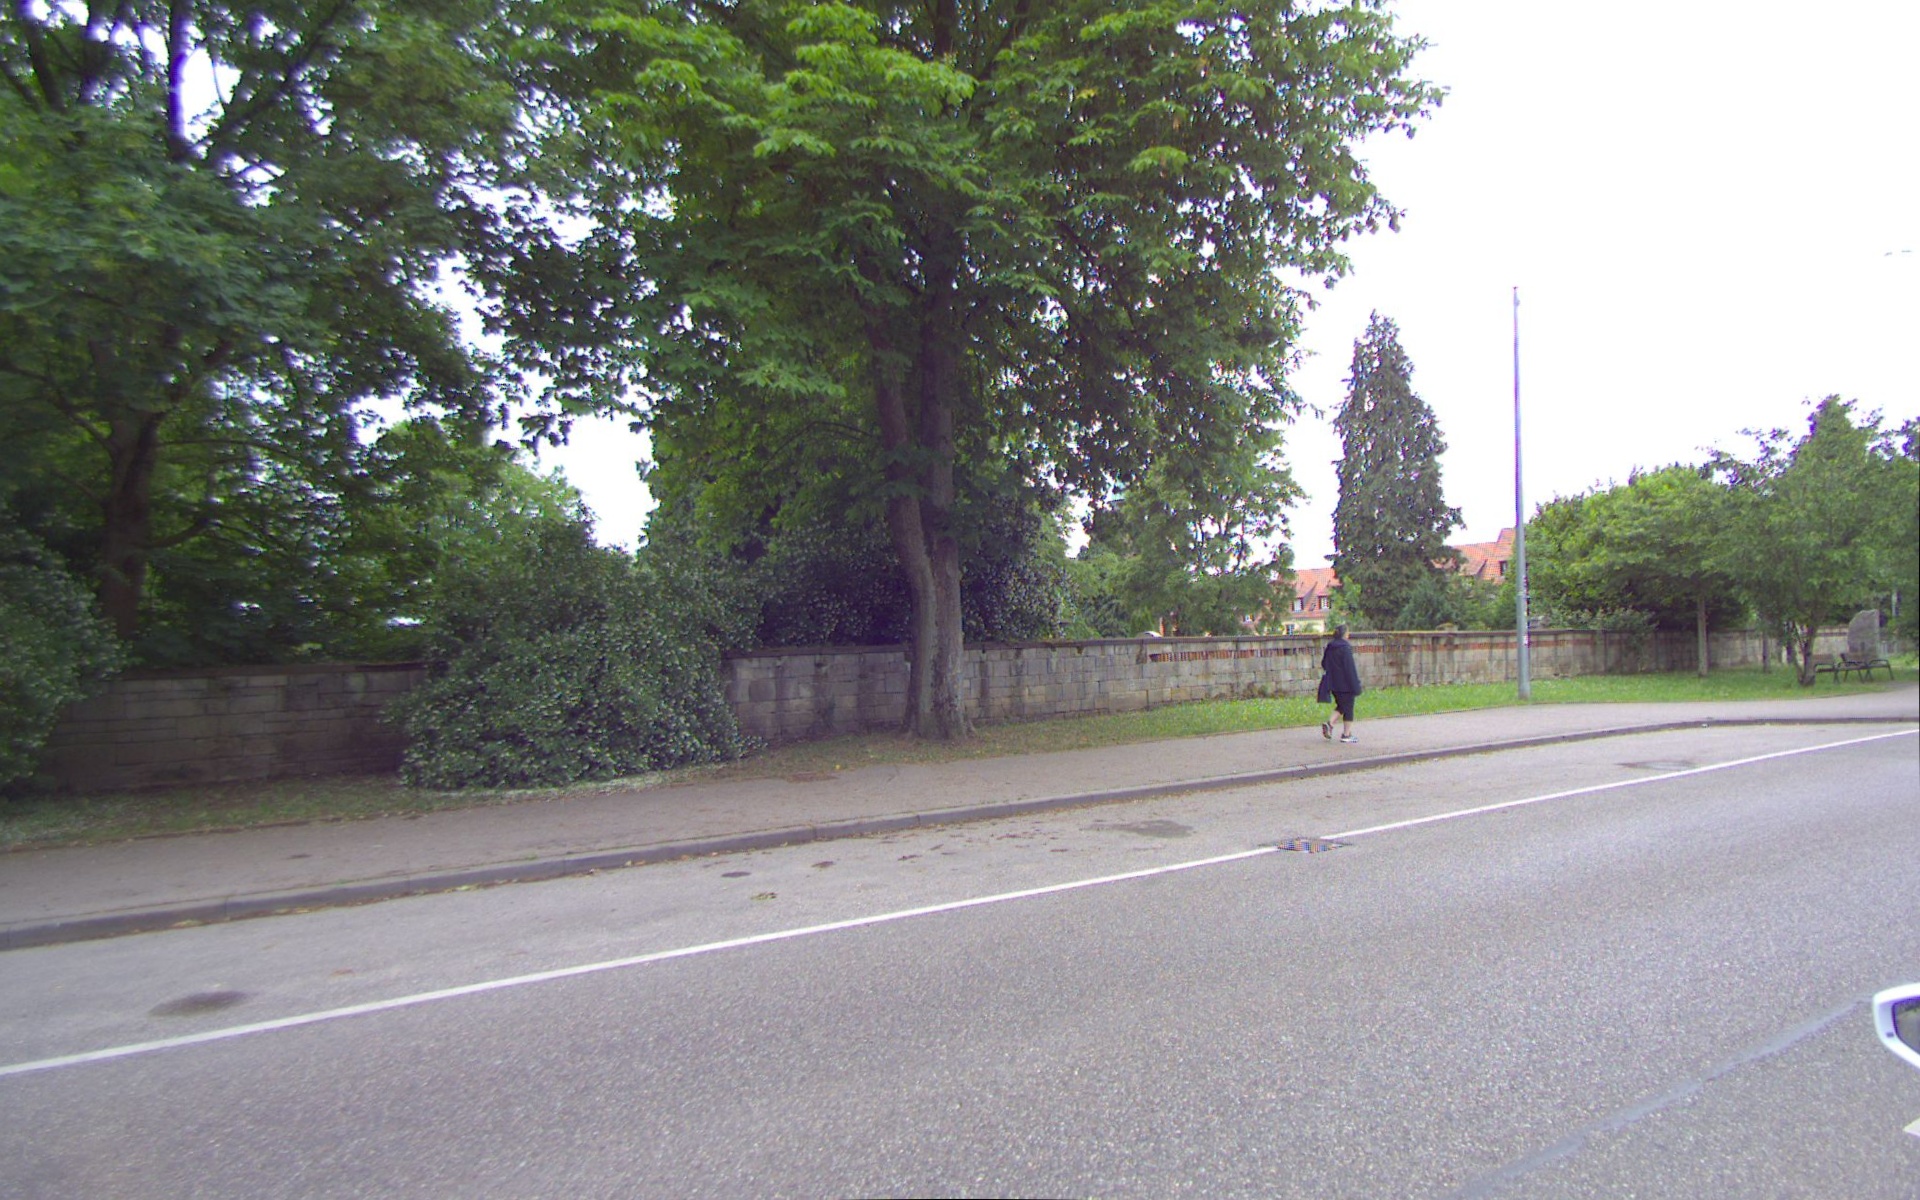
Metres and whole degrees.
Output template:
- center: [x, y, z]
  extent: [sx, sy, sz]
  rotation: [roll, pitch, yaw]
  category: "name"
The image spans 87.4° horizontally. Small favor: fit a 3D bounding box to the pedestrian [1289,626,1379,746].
- center: [5.230, 1.164, 14.052]
  extent: [0.955, 1.599, 0.745]
  rotation: [0, -1, -30]
  category: "pedestrian"
